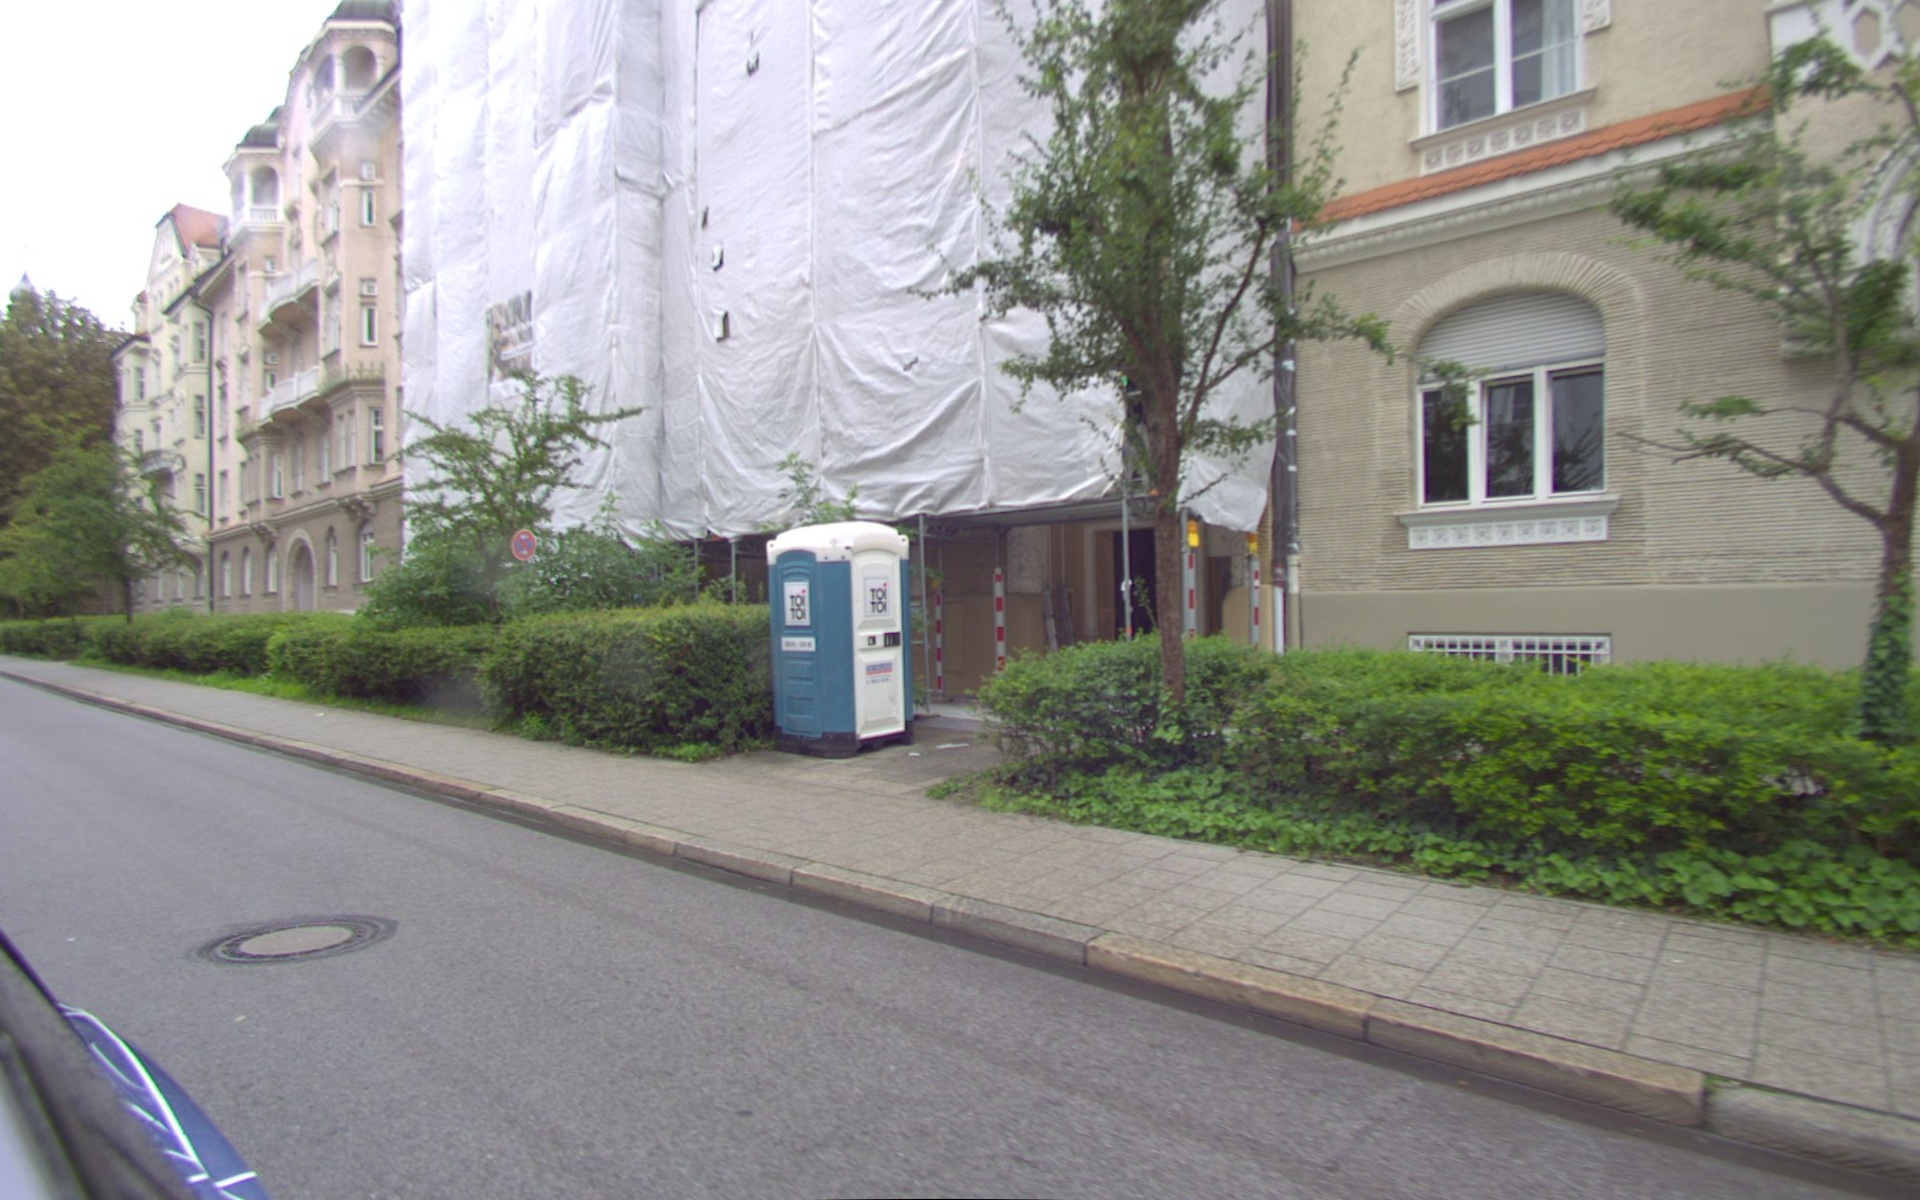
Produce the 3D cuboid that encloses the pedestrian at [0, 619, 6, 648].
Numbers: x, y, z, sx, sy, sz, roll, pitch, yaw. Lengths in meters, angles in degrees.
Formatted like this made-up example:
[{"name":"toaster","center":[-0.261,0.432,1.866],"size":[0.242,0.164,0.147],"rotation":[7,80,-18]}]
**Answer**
[{"name":"pedestrian","center":[-57.963,1.992,60.669],"size":[0.773,1.758,0.878],"rotation":[0,-1,-17]}]
